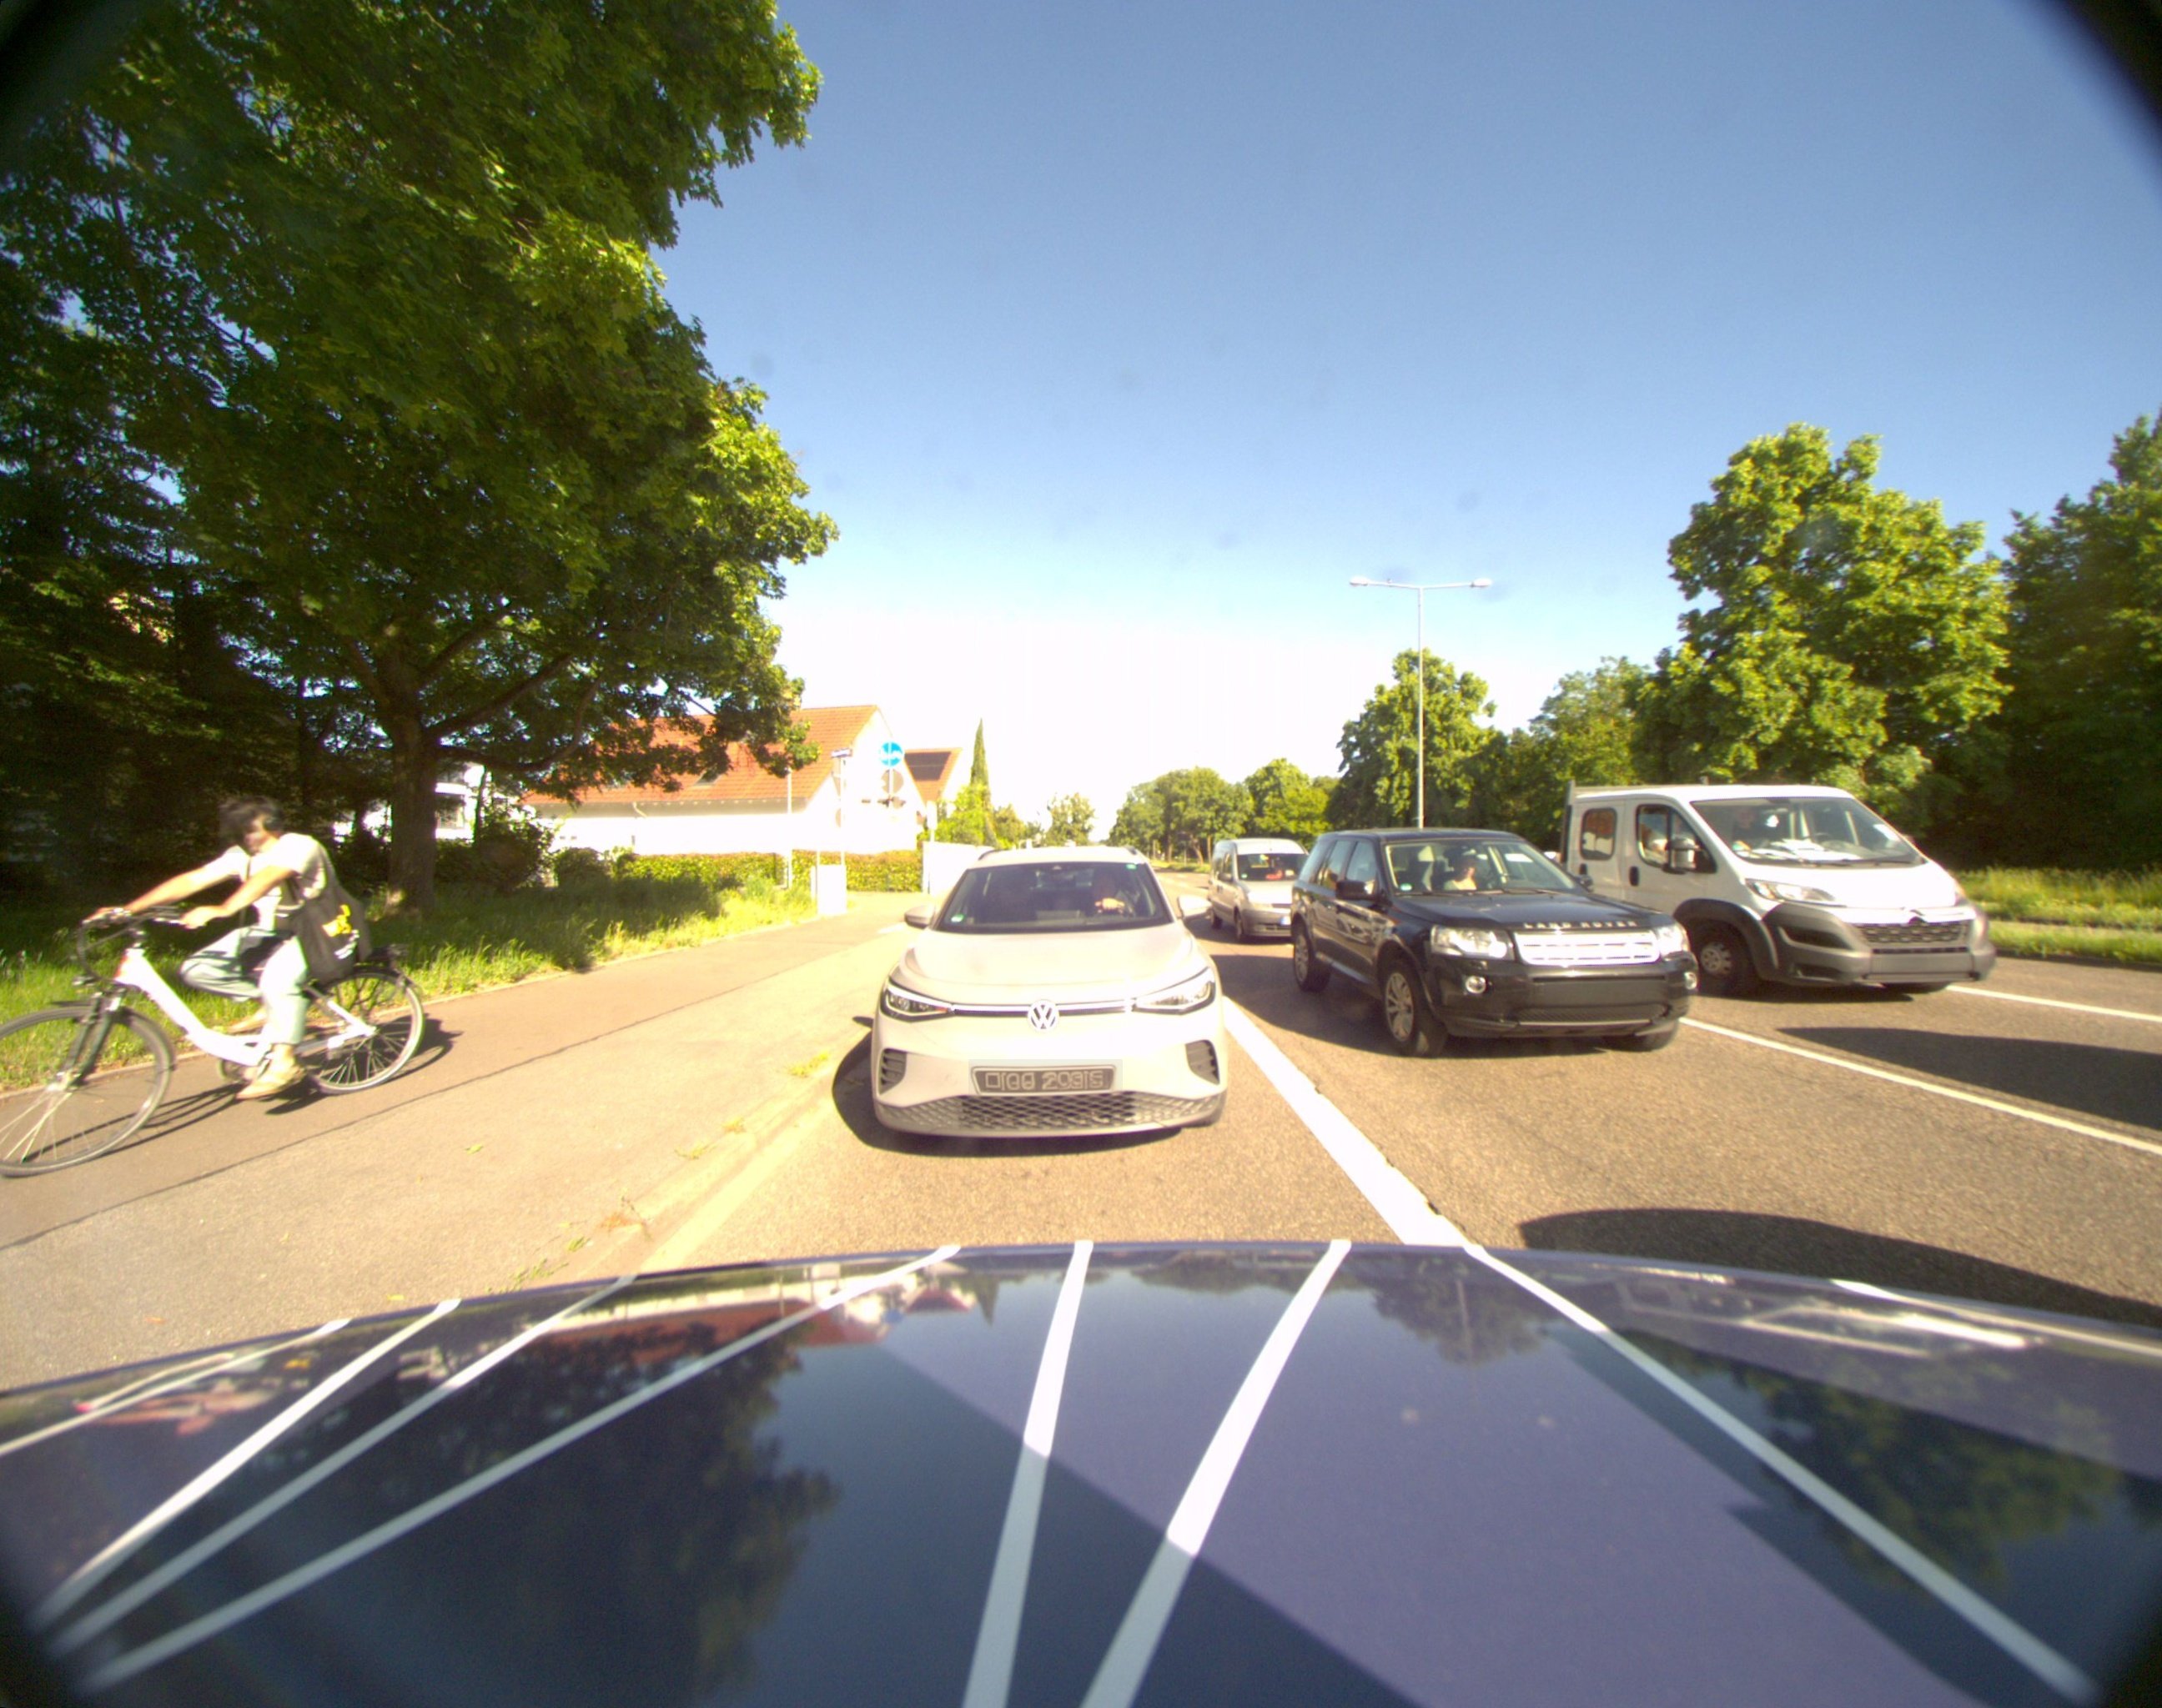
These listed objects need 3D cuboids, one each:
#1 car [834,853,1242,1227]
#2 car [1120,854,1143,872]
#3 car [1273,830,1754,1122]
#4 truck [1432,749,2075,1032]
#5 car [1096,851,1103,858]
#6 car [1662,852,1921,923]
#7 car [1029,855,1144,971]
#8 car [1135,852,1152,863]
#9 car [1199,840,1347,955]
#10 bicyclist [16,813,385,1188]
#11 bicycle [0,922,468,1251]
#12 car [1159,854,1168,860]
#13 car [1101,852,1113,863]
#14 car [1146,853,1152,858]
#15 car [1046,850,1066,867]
[{"bbox_3d":[-0.171,0.850,5.576,1.858,1.679,4.206,0,1,1],"label":"car"},{"bbox_3d":[4.138,0.701,62.284,1.630,1.466,3.931,-1,0,0],"label":"car"},{"bbox_3d":[3.164,0.716,6.771,1.816,1.721,4.386,-2,1,1],"label":"car"},{"bbox_3d":[7.211,0.270,9.769,2.185,2.307,6.842,-2,1,0],"label":"truck"},{"bbox_3d":[4.424,0.199,181.687,1.726,1.630,4.000,0,0,1],"label":"car"},{"bbox_3d":[15.966,0.670,17.499,1.690,1.425,4.615,0,0,1],"label":"car"},{"bbox_3d":[0.107,0.867,13.019,1.632,1.586,4.024,-2,1,1],"label":"car"},{"bbox_3d":[8.181,0.427,99.693,1.727,1.436,3.999,0,0,-2],"label":"car"},{"bbox_3d":[3.323,0.654,13.966,1.632,1.741,4.386,-2,1,1],"label":"car"},{"bbox_3d":[-4.227,0.622,3.740,0.579,1.572,0.998,2,0,10],"label":"bicyclist"},{"bbox_3d":[-4.236,0.965,3.736,0.579,1.091,1.989,2,0,10],"label":"bicycle"},{"bbox_3d":[21.112,0.790,195.315,1.878,1.674,4.000,0,0,1],"label":"car"},{"bbox_3d":[4.006,0.587,116.745,1.726,1.630,4.000,0,0,1],"label":"car"},{"bbox_3d":[21.359,0.498,239.294,1.792,1.674,4.000,0,0,1],"label":"car"},{"bbox_3d":[-2.258,0.419,69.632,1.630,1.523,3.931,-1,0,0],"label":"car"}]
